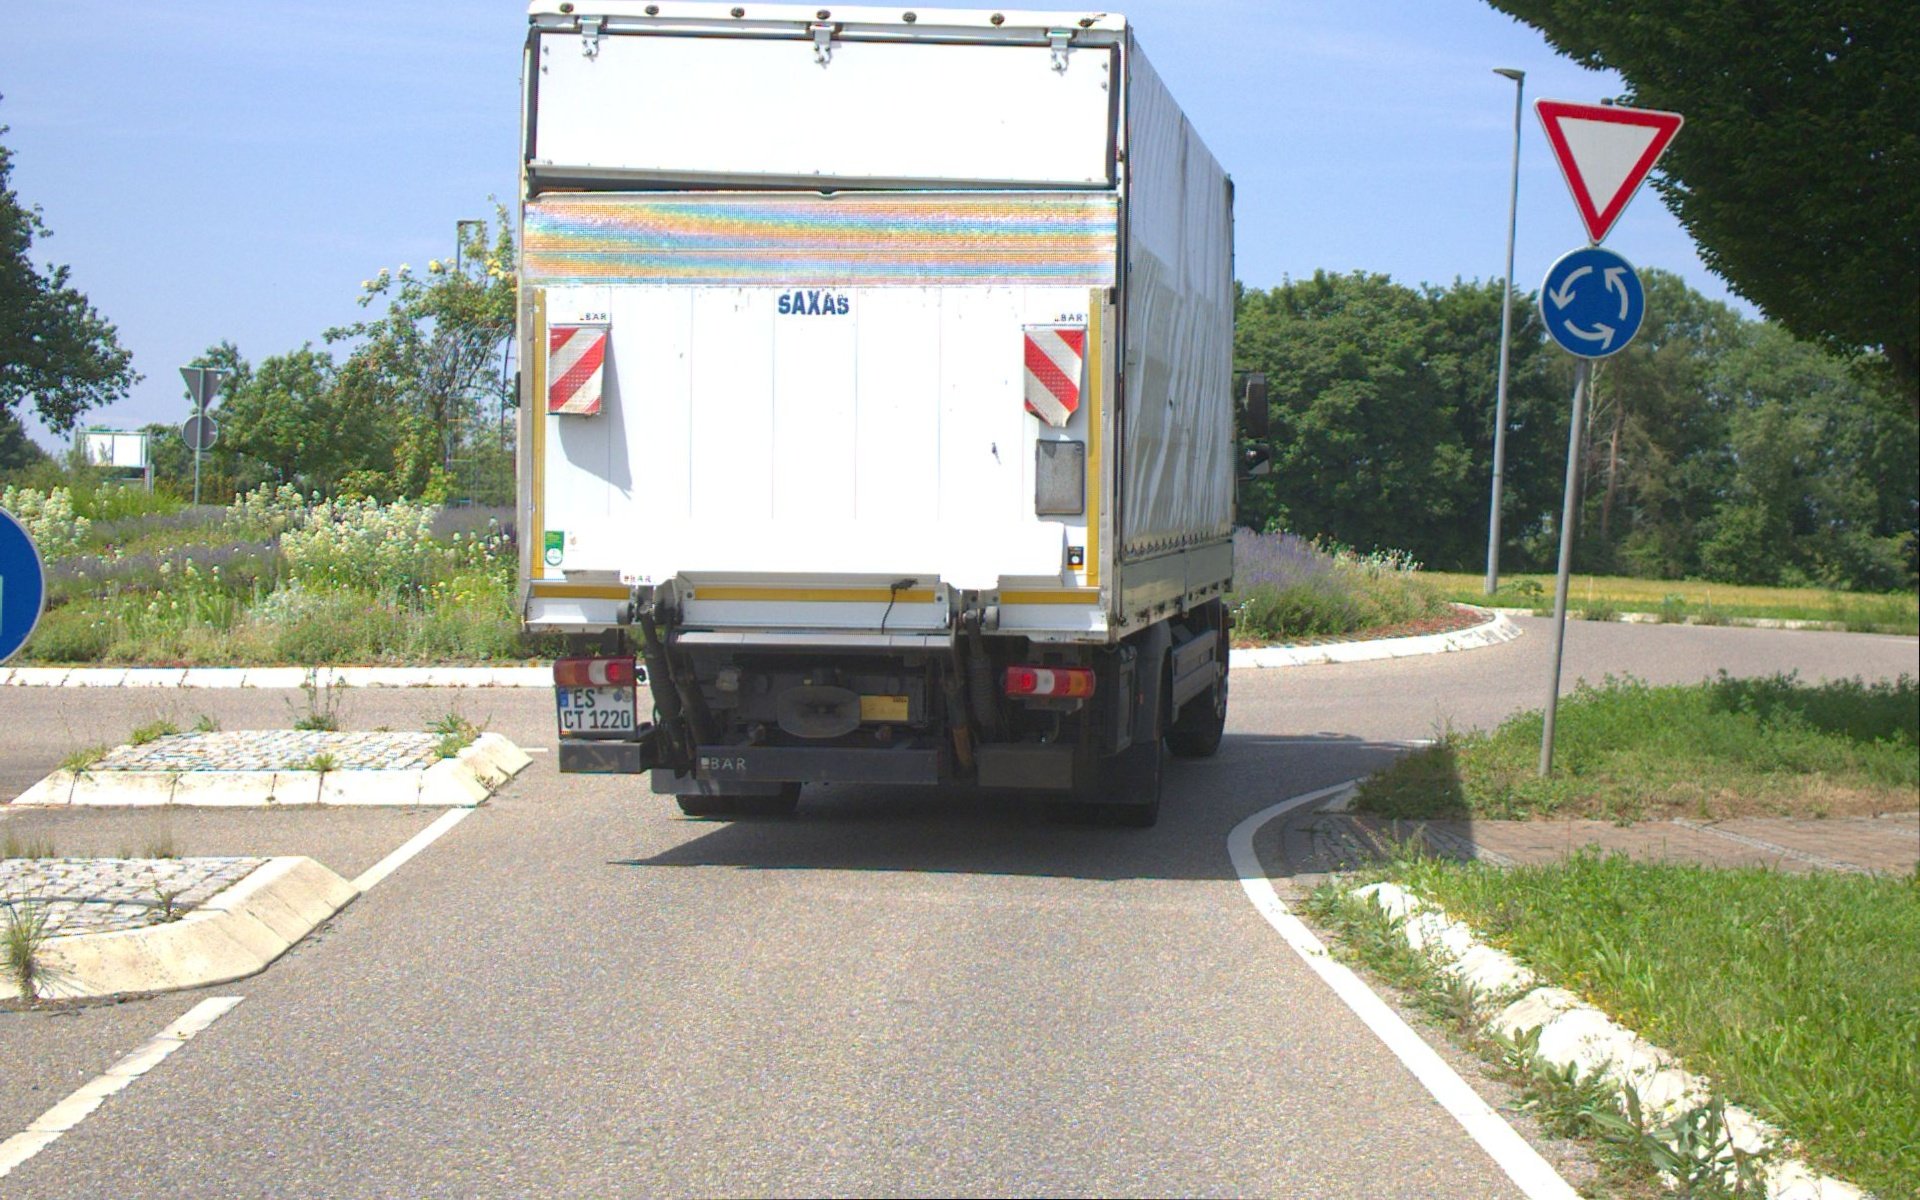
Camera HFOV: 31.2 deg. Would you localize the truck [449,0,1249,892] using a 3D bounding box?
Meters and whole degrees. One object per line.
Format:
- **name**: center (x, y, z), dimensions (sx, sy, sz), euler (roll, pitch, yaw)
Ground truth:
- **truck**: center (-0.087, -0.821, 18.623), dimensions (2.768, 3.658, 9.380), euler (1, 2, 8)
